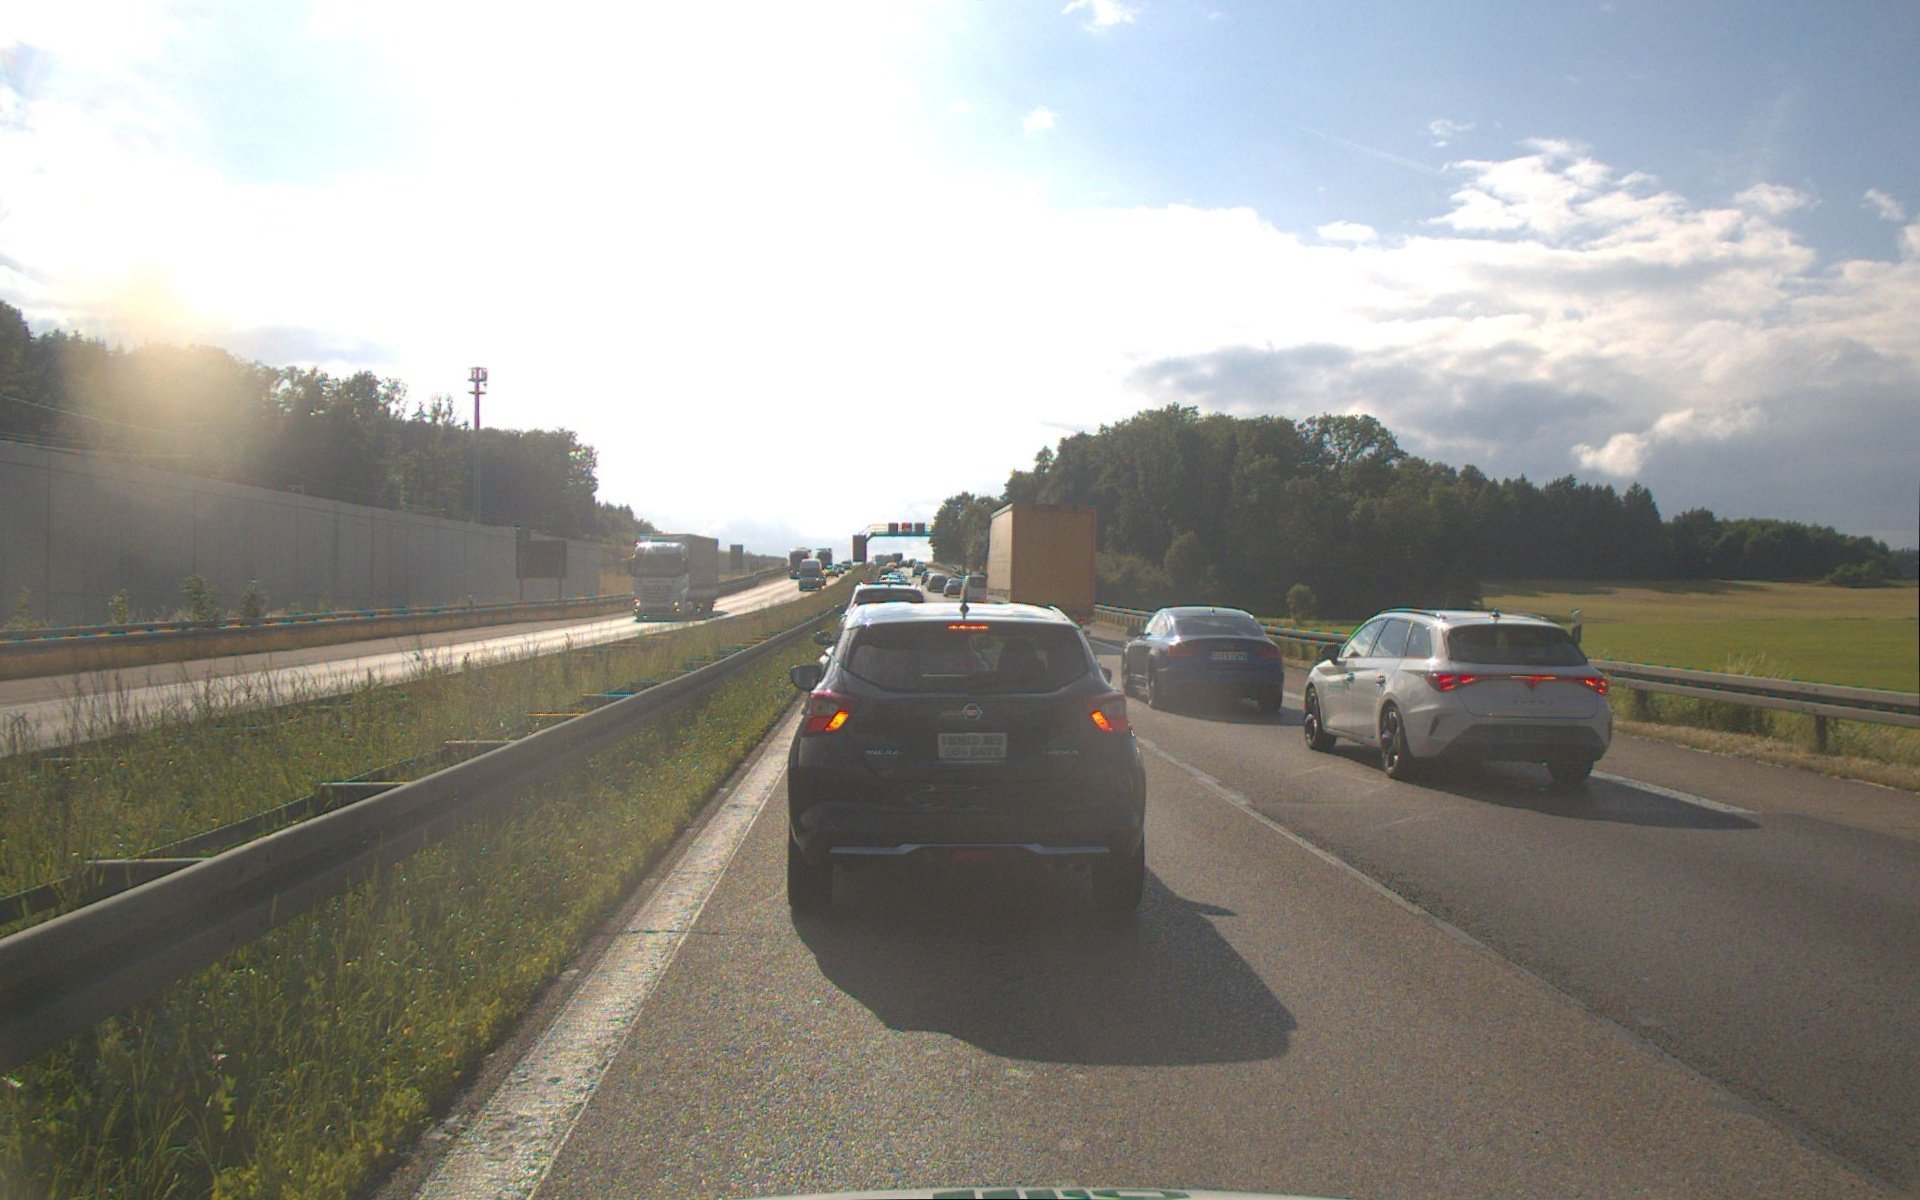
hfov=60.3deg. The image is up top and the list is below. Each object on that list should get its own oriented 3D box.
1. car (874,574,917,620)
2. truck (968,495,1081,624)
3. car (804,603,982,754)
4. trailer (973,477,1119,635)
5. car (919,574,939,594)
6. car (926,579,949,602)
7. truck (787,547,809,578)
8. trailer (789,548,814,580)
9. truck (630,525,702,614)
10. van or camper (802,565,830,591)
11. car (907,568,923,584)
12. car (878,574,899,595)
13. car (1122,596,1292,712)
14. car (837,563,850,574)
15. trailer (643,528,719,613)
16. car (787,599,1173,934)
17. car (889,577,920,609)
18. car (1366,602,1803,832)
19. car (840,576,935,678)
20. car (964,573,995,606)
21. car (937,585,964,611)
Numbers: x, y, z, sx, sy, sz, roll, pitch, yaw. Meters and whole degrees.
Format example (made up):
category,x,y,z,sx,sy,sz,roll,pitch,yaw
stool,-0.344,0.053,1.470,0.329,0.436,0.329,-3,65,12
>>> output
category,x,y,z,sx,sy,sz,roll,pitch,yaw
car,-3.058,-0.122,77.632,1.954,2.049,3.997,1,0,-3
truck,2.285,-1.409,61.243,3.511,4.456,6.684,1,0,-3
car,-0.670,0.743,17.238,1.640,1.391,3.595,1,0,-1
trailer,2.581,-1.262,54.652,3.478,4.535,12.714,1,0,-3
car,-3.321,-1.681,176.262,1.954,2.049,3.997,1,0,-3
car,-2.083,-0.884,151.168,1.954,2.049,3.997,1,0,-3
truck,-20.925,-4.800,213.855,2.501,3.865,5.415,-1,0,-2
trailer,-21.071,-4.759,220.431,2.489,3.837,12.536,-1,0,-2
truck,-14.466,-1.421,81.901,2.585,4.169,6.998,1,0,-3
van or camper,-13.213,-2.023,152.235,2.122,2.244,6.257,1,0,-1
car,-5.782,-3.085,213.281,1.954,2.049,3.997,1,0,-3
car,-7.039,-1.496,162.261,1.954,2.049,3.997,1,0,-3
car,3.435,0.716,23.705,1.712,1.501,4.145,1,0,-1
car,-17.348,-4.728,246.461,1.767,1.543,4.689,1,0,-1
trailer,-14.772,-1.447,88.450,2.601,4.152,12.388,1,0,-3
car,0.067,0.741,8.963,1.675,1.451,3.377,1,0,-1
car,-3.753,-0.471,110.947,1.954,2.049,3.997,1,0,-3
car,4.567,0.773,12.803,1.588,1.471,4.143,1,0,-4
car,-1.313,0.475,30.702,1.640,1.756,3.595,1,0,-1
car,1.072,-0.588,93.213,1.633,1.785,3.326,1,0,-1
car,-0.805,-0.126,132.933,1.954,2.049,3.997,1,0,-3
